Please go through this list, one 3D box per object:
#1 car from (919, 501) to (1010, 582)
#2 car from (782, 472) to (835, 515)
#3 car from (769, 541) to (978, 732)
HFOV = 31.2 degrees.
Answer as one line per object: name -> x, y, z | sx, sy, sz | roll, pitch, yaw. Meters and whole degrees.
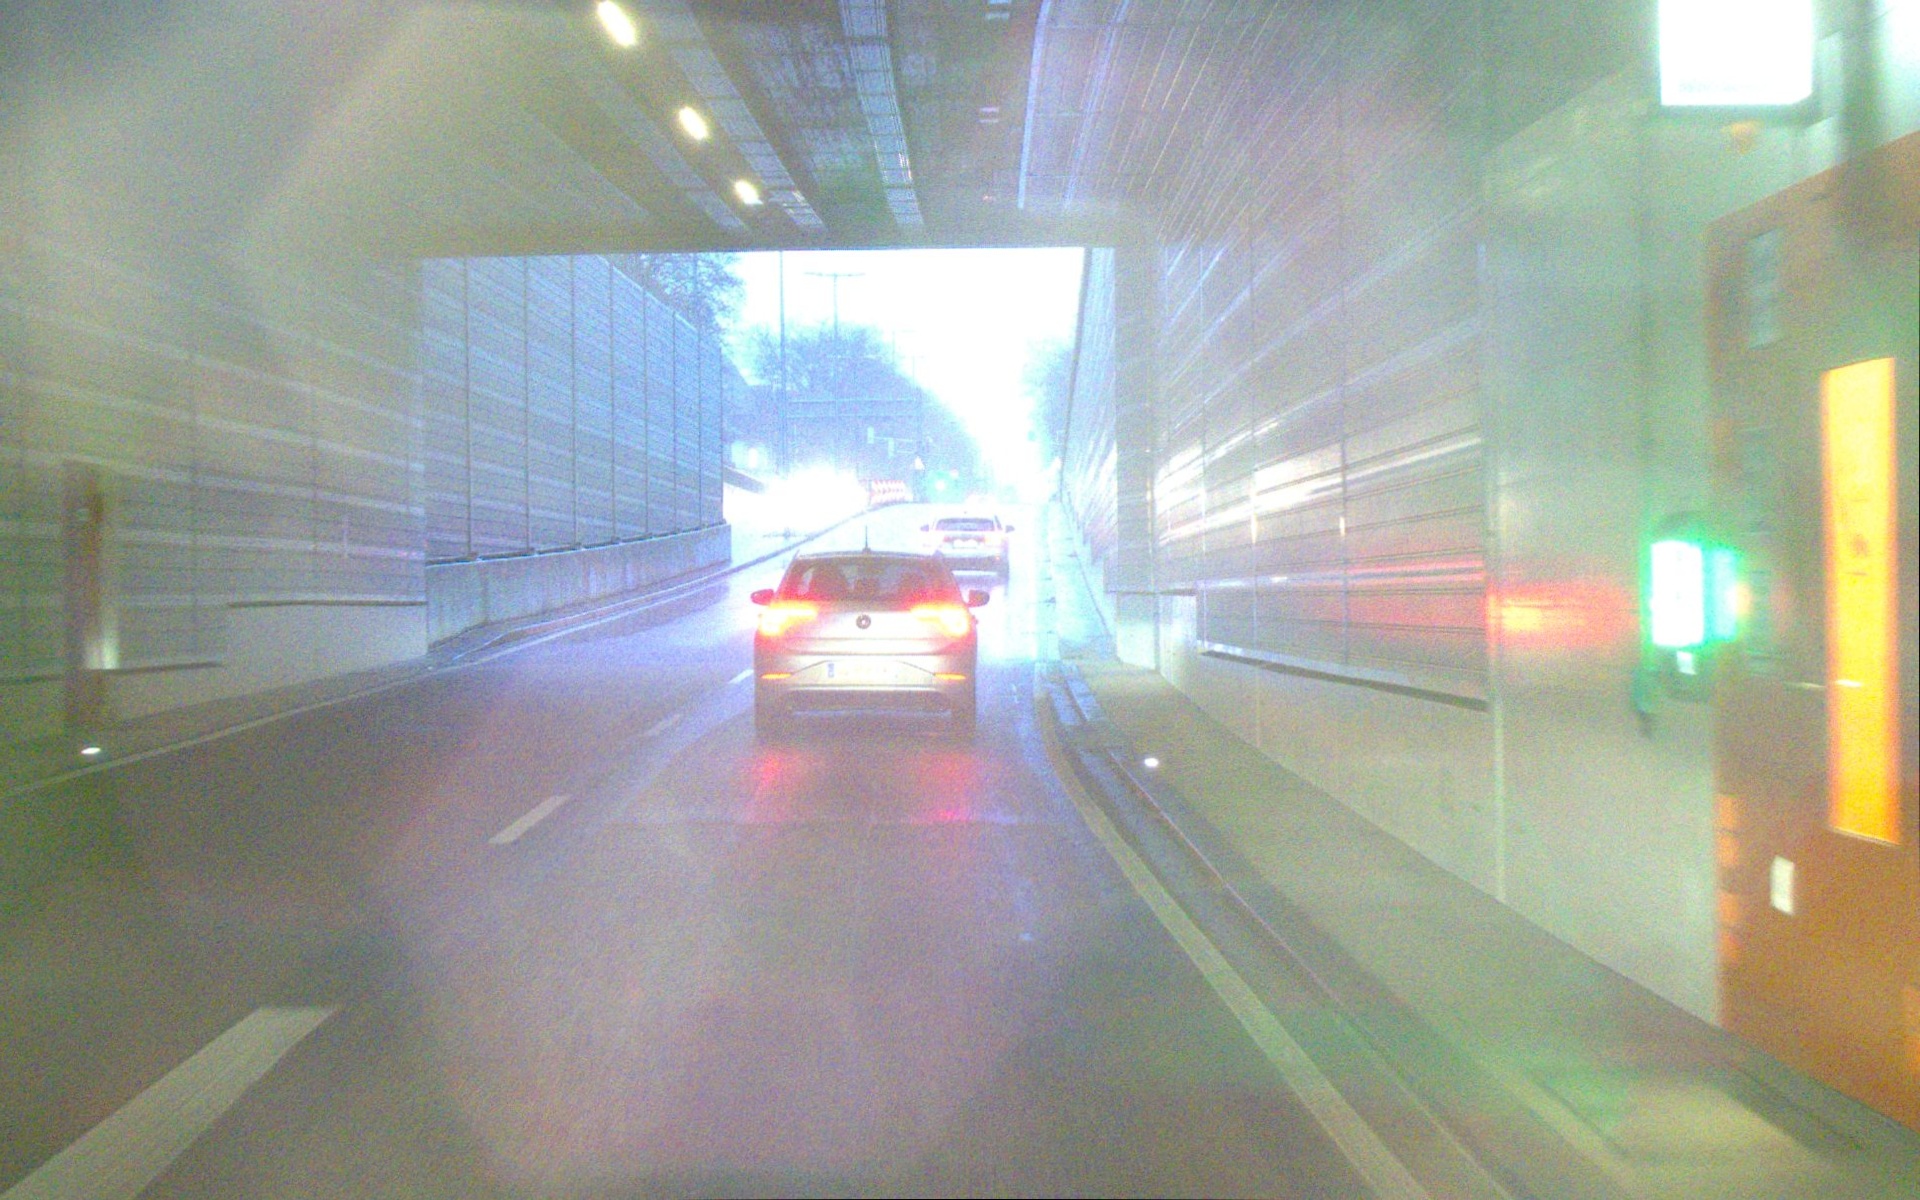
car -> 0.068, -1.241, 74.445 | 1.880, 1.615, 4.000 | 2, 0, -1
car -> -6.334, -4.462, 144.394 | 1.880, 1.615, 4.000 | 2, 0, 2
car -> -0.697, 0.257, 27.560 | 1.532, 1.392, 3.434 | 1, 1, -2
